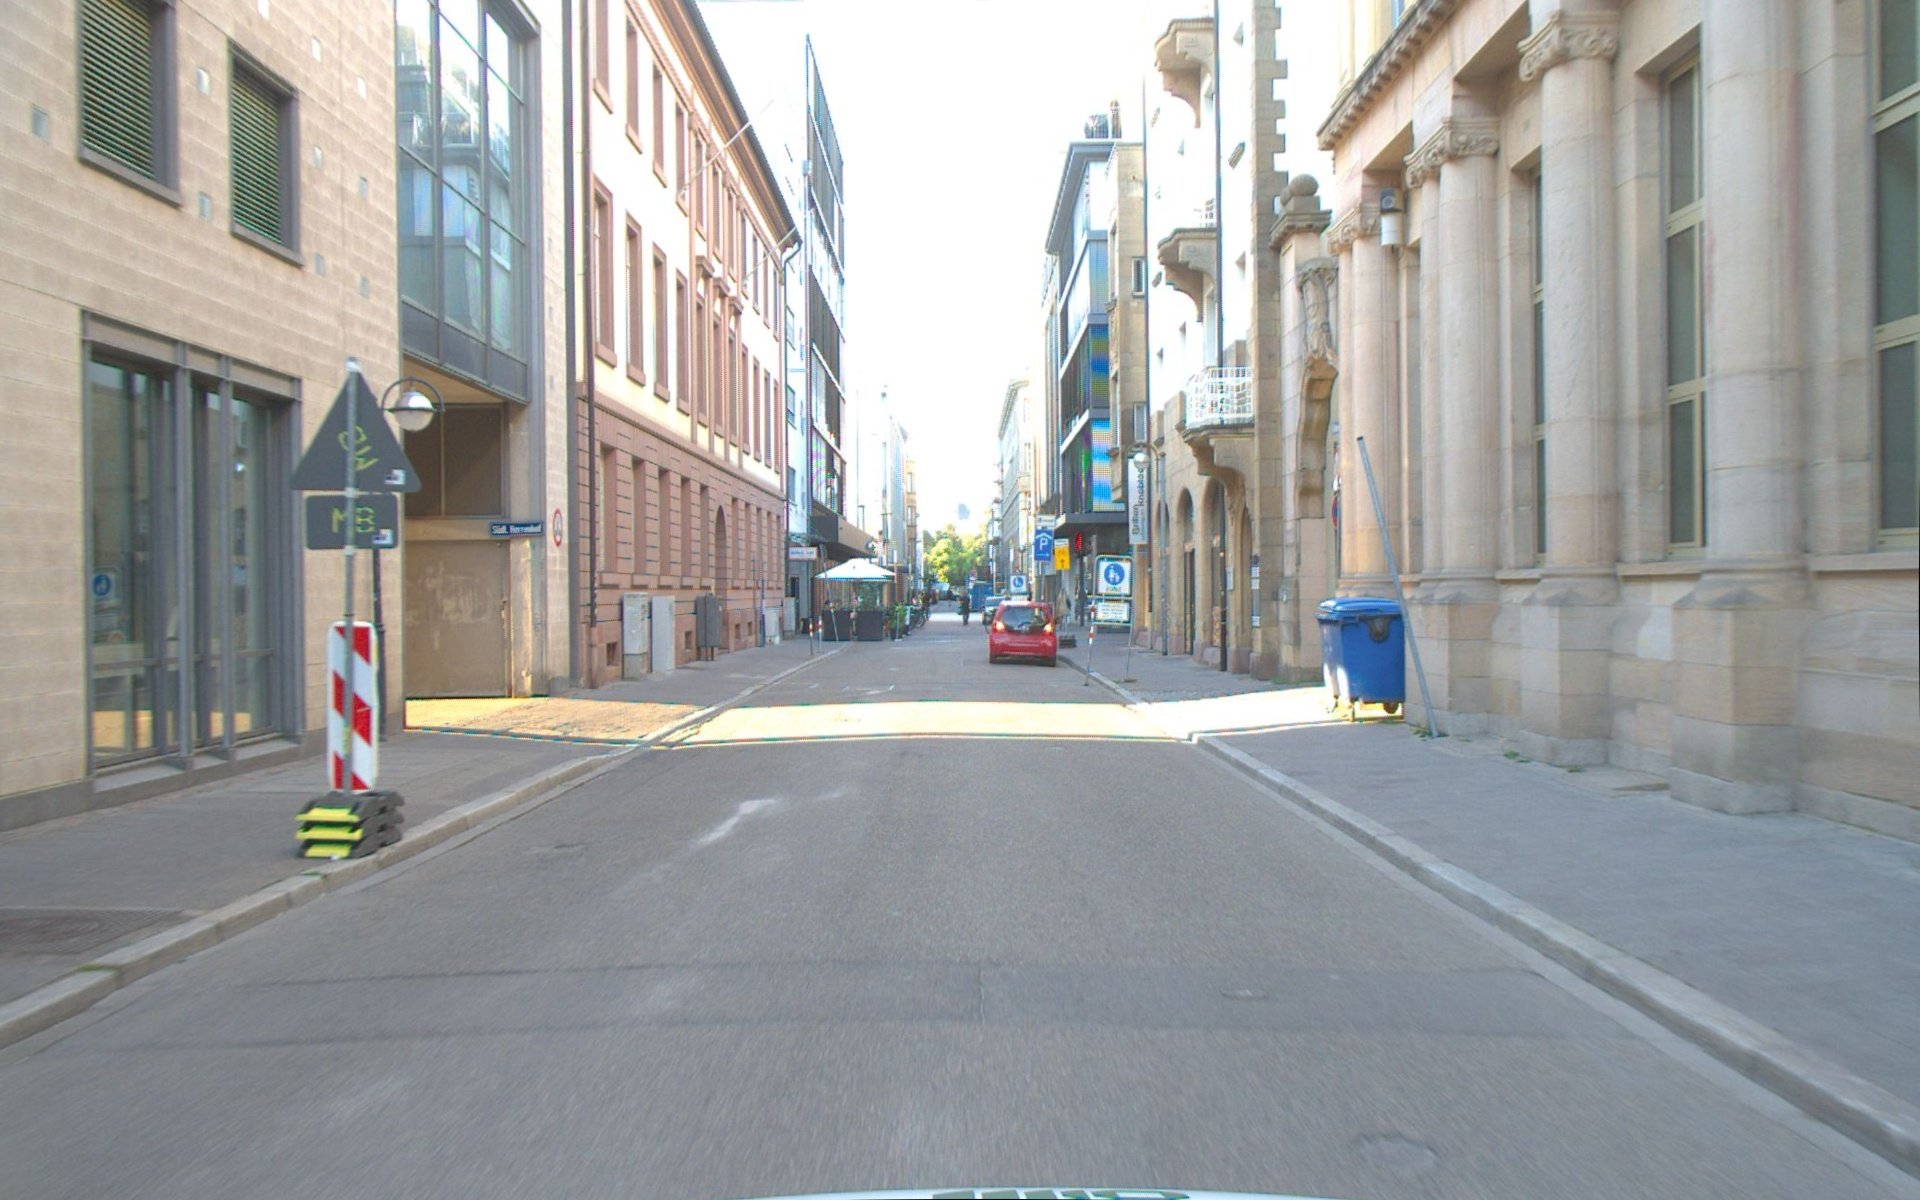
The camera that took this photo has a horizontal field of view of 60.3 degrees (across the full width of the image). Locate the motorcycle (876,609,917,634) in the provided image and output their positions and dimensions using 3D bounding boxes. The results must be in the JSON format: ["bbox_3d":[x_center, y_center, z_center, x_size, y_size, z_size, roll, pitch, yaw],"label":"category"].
[{"bbox_3d":[-2.735,0.947,71.535,1.766,1.059,0.493,-1,0,-4],"label":"motorcycle"}]

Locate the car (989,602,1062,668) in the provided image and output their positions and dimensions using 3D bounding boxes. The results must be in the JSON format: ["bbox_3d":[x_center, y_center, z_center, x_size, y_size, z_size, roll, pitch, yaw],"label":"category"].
[{"bbox_3d":[1.533,0.811,39.905,1.615,1.452,3.535,2,0,0],"label":"car"}]

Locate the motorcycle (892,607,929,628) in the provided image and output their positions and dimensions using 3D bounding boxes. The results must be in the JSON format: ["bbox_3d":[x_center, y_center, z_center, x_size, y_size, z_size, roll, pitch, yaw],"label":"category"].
[{"bbox_3d":[-2.416,0.866,80.756,1.766,1.007,0.560,-1,0,-4],"label":"motorcycle"}]

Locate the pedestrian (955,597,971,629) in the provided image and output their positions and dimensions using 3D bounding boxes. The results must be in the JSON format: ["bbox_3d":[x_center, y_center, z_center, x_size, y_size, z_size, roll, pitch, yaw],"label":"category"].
[{"bbox_3d":[0.157,0.687,90.007,0.848,1.743,0.852,0,0,-2],"label":"pedestrian"}]

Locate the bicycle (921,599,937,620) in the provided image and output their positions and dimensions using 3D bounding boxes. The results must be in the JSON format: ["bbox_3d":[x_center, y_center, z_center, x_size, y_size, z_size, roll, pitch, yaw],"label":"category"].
[{"bbox_3d":[-1.832,0.559,96.953,0.624,1.177,2.496,0,0,-9],"label":"bicycle"}]

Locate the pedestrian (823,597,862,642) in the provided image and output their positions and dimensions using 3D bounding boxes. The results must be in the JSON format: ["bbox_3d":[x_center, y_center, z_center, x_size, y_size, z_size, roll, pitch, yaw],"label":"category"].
[{"bbox_3d":[-3.934,0.647,55.630,1.264,1.514,0.661,-1,0,-2],"label":"pedestrian"}]

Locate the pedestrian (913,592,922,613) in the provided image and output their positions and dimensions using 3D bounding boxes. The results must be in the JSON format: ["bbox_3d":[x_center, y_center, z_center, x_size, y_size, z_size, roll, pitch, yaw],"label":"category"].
[{"bbox_3d":[-3.377,0.218,130.562,0.664,1.651,0.626,-1,0,2],"label":"pedestrian"}]

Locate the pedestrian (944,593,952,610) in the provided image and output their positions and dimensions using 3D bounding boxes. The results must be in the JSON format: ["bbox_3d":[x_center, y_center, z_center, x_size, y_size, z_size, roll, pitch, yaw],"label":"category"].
[{"bbox_3d":[-1.262,0.141,172.304,0.788,1.702,0.888,-1,0,2],"label":"pedestrian"}]

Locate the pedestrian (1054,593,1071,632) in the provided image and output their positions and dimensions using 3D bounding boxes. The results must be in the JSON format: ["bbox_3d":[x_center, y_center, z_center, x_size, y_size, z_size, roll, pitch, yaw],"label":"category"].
[{"bbox_3d":[4.020,0.489,64.678,0.643,1.514,0.493,-1,0,2],"label":"pedestrian"}]

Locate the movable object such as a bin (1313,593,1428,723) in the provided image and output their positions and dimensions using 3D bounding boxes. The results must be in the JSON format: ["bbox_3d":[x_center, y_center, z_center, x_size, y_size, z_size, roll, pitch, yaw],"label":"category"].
[{"bbox_3d":[4.694,0.639,18.986,0.970,1.416,1.240,-1,0,-1],"label":"movable object such as a bin"}]

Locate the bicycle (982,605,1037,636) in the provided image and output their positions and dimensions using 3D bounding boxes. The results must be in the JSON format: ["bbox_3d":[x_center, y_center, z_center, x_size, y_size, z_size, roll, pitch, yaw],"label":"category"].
[{"bbox_3d":[1.850,0.761,61.716,2.011,1.154,0.649,-1,0,-4],"label":"bicycle"}]

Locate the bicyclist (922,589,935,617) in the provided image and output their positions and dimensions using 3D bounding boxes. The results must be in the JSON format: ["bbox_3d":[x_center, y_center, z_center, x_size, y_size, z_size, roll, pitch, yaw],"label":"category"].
[{"bbox_3d":[-1.836,0.170,96.952,0.624,1.669,0.770,0,0,-9],"label":"bicyclist"}]

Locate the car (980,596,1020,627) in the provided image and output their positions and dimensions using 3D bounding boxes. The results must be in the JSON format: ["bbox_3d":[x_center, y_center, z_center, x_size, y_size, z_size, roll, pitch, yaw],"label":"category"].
[{"bbox_3d":[2.111,0.619,89.321,1.953,1.639,3.999,-1,0,-2],"label":"car"}]

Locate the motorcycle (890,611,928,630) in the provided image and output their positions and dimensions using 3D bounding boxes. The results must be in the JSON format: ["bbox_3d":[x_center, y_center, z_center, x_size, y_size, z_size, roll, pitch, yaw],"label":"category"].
[{"bbox_3d":[-2.463,1.005,79.717,1.766,0.891,0.560,-1,0,-4],"label":"motorcycle"}]
